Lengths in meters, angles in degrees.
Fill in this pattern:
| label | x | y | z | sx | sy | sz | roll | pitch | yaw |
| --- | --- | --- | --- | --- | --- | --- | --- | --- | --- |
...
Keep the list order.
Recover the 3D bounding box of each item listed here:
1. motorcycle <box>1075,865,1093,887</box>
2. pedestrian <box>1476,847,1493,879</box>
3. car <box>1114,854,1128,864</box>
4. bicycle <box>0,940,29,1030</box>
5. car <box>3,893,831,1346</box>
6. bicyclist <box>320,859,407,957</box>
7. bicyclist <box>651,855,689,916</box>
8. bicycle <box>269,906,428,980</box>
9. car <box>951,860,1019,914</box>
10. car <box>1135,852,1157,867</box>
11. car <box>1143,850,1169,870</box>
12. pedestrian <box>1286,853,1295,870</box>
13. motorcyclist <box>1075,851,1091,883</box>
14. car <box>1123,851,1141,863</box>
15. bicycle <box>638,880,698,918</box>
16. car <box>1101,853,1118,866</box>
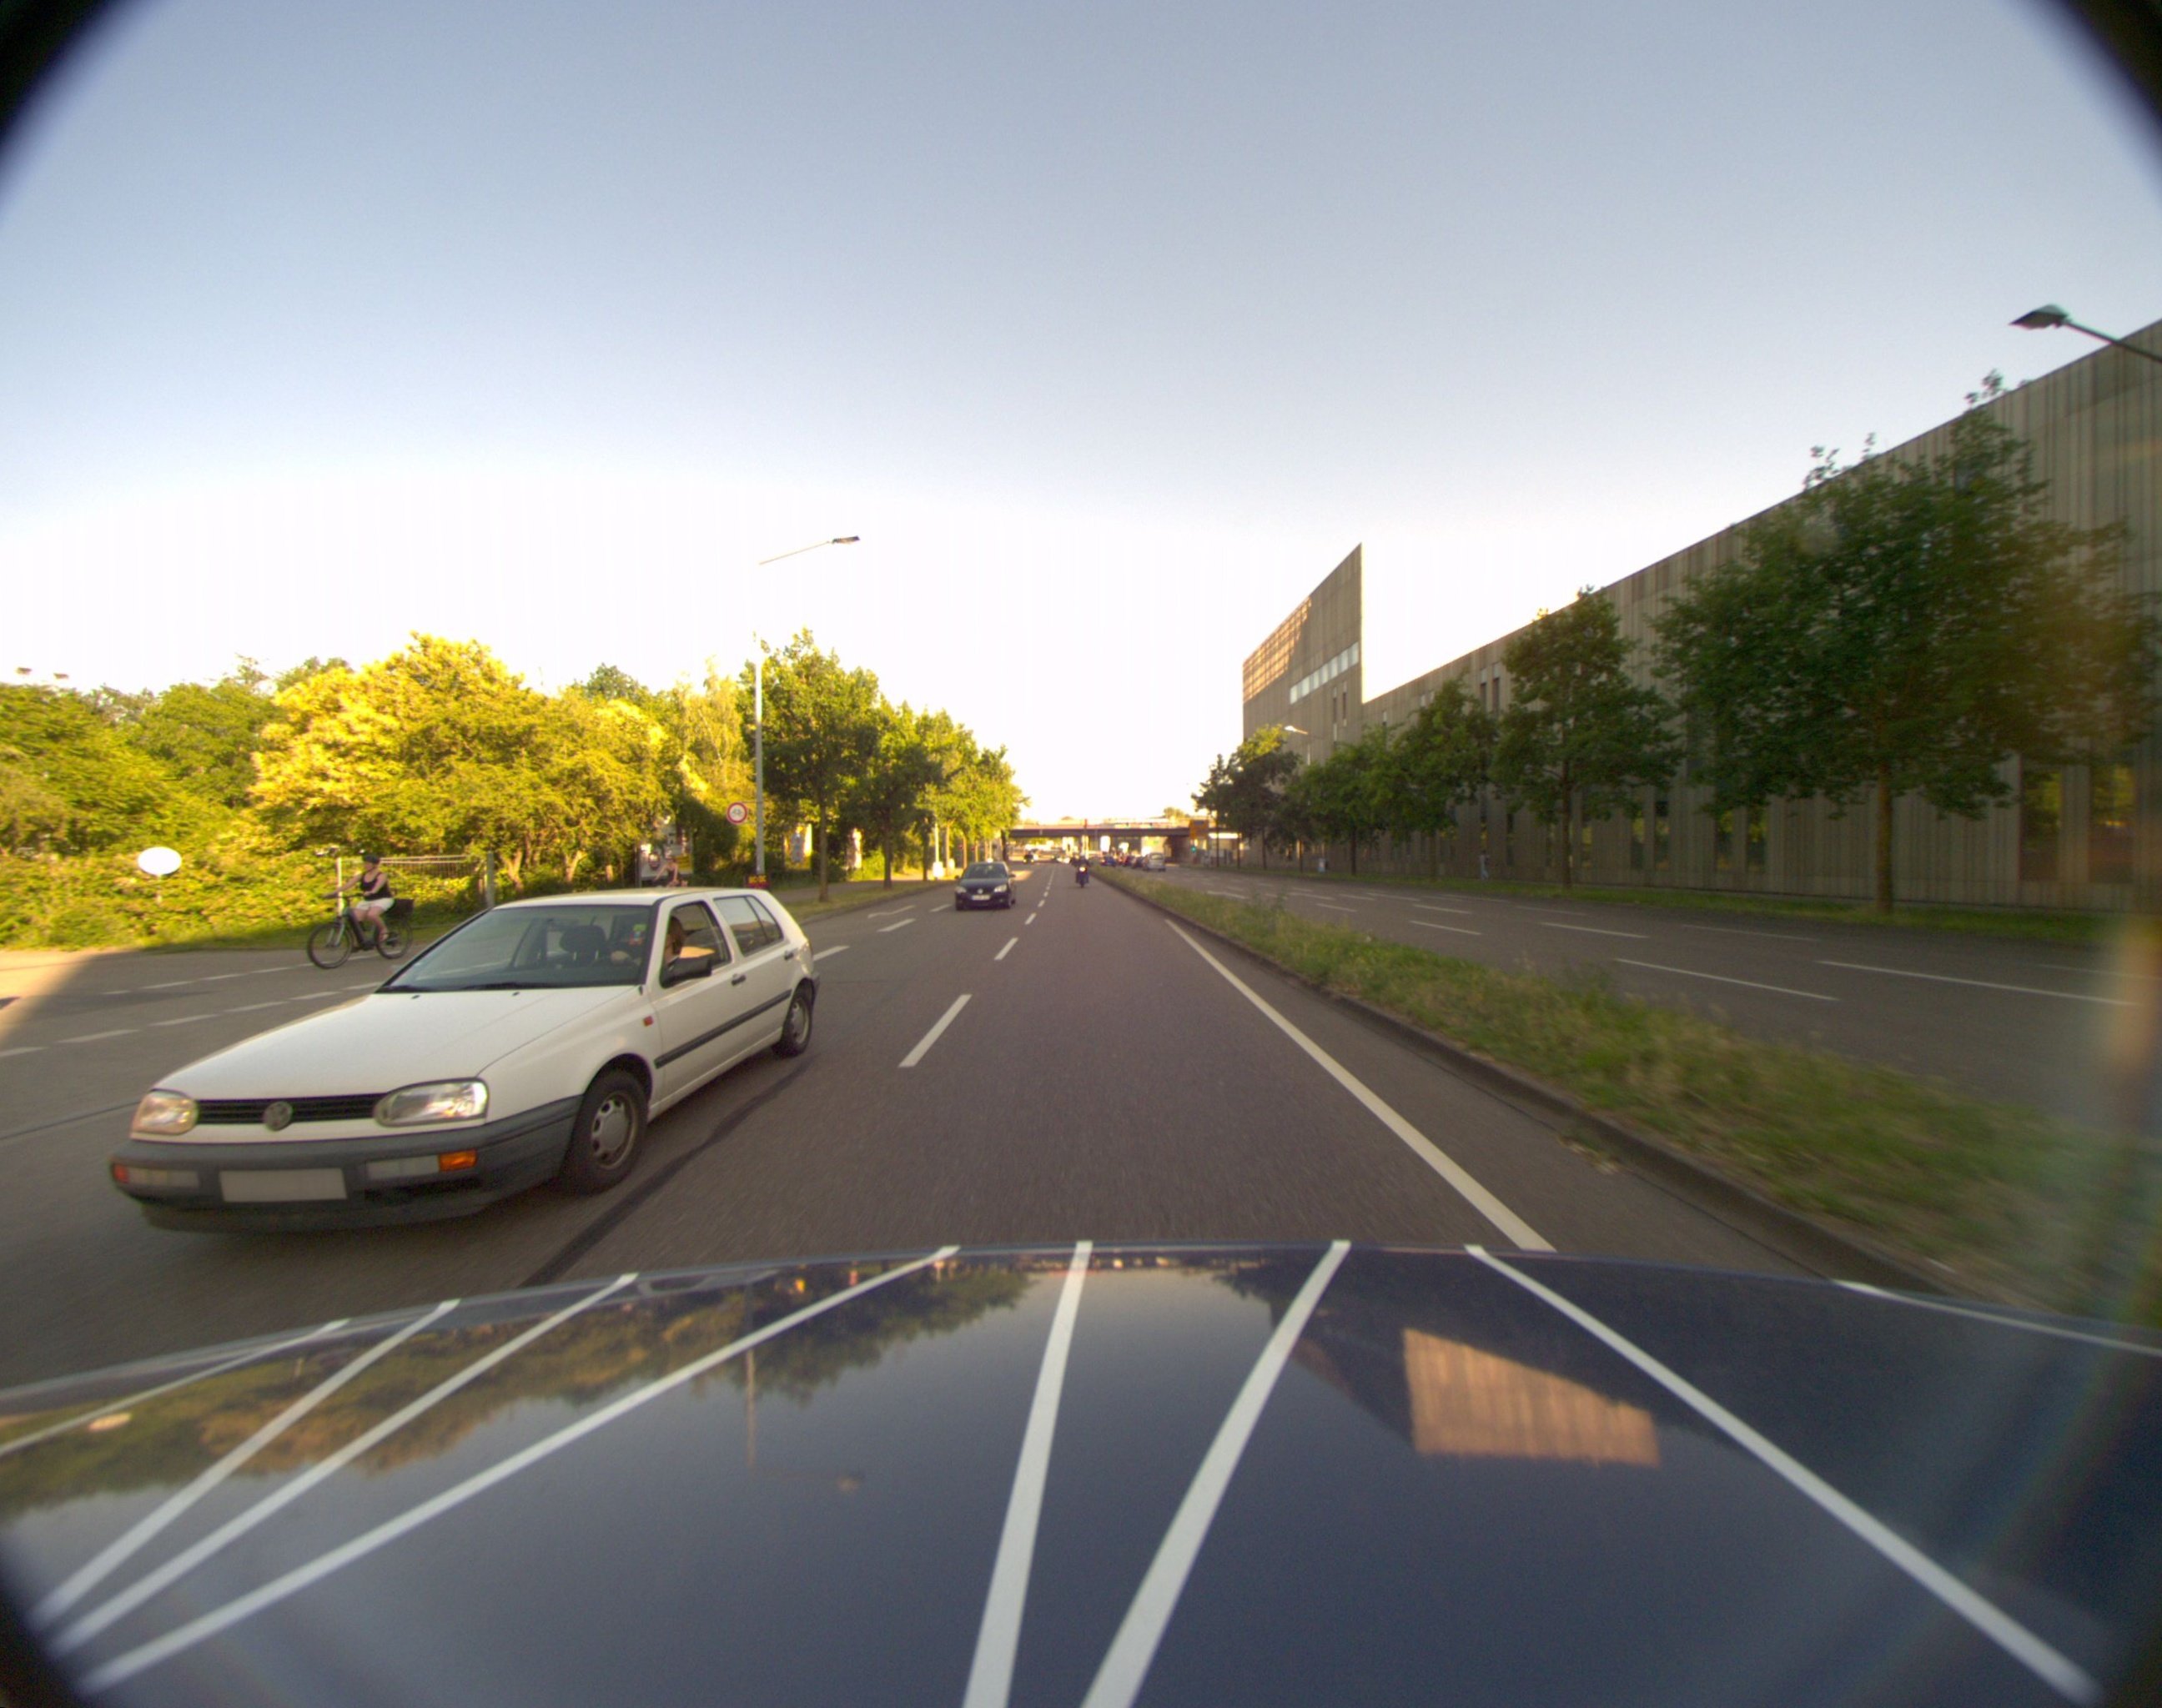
| label | x | y | z | sx | sy | sz | roll | pitch | yaw |
| --- | --- | --- | --- | --- | --- | --- | --- | --- | --- |
| motorcycle | 0.111 | 1.035 | 36.093 | 0.749 | 0.977 | 2.139 | 0 | 1 | -3 |
| pedestrian | 22.780 | 0.513 | 42.854 | 0.604 | 1.757 | 0.649 | -1 | 1 | 0 |
| car | 5.729 | 0.686 | 108.280 | 1.696 | 1.425 | 3.771 | 0 | 0 | -1 |
| bicycle | -12.209 | 1.461 | 7.668 | 0.618 | 0.968 | 1.821 | -1 | 0 | 0 |
| car | -3.078 | 1.072 | 4.787 | 1.615 | 1.390 | 4.038 | -3 | 0 | 0 |
| bicyclist | -12.068 | 0.885 | 12.808 | 0.605 | 1.569 | 0.848 | -1 | 1 | 0 |
| bicyclist | -12.045 | 0.904 | 22.299 | 0.605 | 1.723 | 0.848 | -1 | 1 | 0 |
| bicycle | -12.073 | 1.432 | 12.629 | 0.618 | 0.968 | 2.058 | -1 | 0 | 0 |
| car | -2.950 | 1.011 | 24.122 | 1.726 | 1.490 | 4.214 | -2 | -1 | -3 |
| car | 6.767 | 0.523 | 79.783 | 1.930 | 1.510 | 4.289 | 0 | 0 | 0 |
| car | 7.117 | 0.543 | 72.251 | 1.999 | 1.805 | 4.400 | 0 | 0 | 0 |
| pedestrian | 19.698 | 0.723 | 71.461 | 0.698 | 1.619 | 0.725 | 0 | 1 | -2 |
| motorcyclist | 0.091 | 0.607 | 36.291 | 0.735 | 1.503 | 0.918 | 0 | 1 | -3 |
| car | 6.359 | 0.396 | 95.750 | 1.930 | 1.510 | 3.999 | 0 | 0 | -1 |
| bicycle | -12.043 | 1.293 | 22.239 | 0.618 | 0.968 | 2.058 | -1 | 0 | 0 |
| car | 3.420 | 0.636 | 91.847 | 1.841 | 1.510 | 3.951 | 0 | 0 | -2 |
